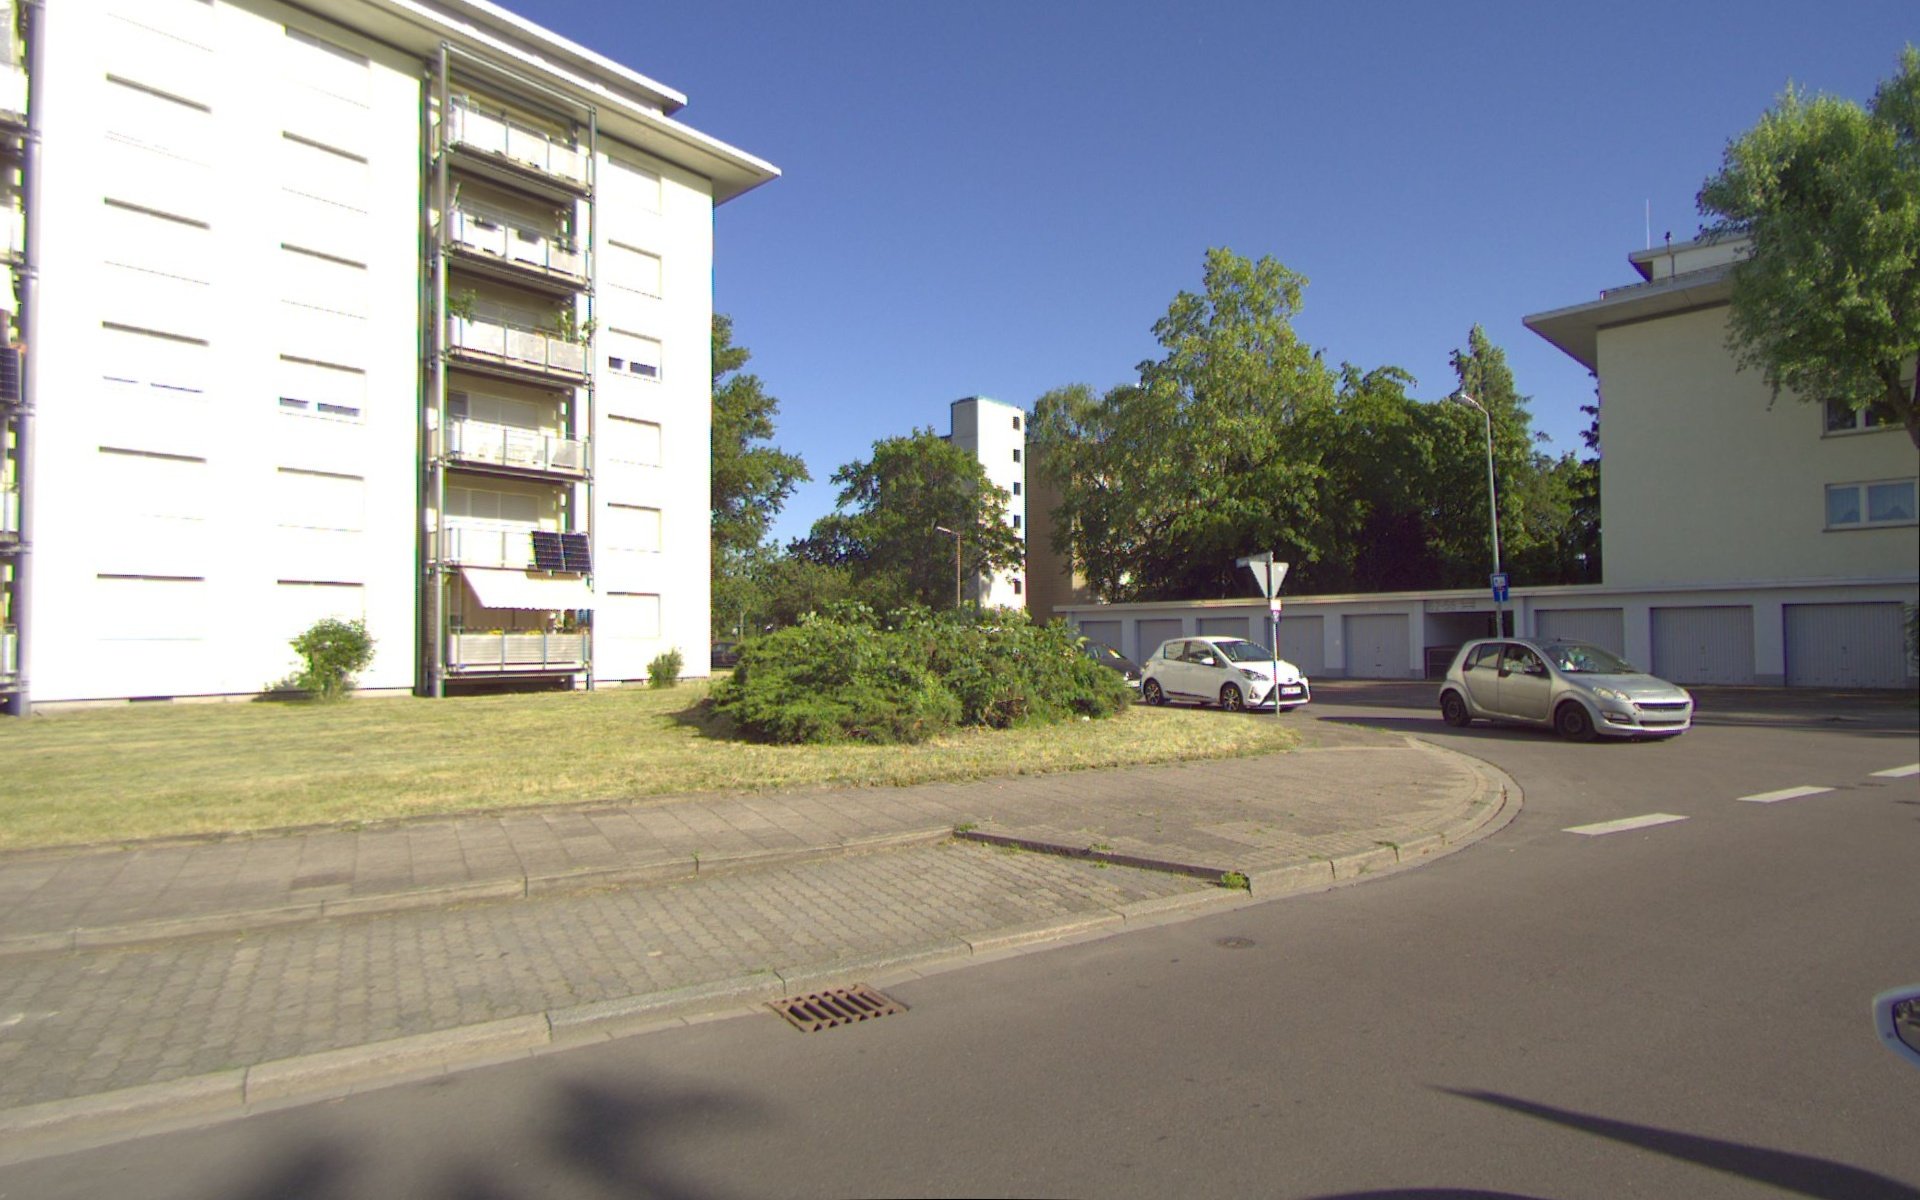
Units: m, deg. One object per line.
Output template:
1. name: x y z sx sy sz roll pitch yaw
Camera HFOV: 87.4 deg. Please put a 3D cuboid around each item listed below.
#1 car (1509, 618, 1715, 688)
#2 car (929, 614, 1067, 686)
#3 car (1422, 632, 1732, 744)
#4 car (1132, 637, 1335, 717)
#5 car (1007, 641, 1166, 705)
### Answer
1. car: 19.759 1.626 30.691 1.979 1.949 4.856 1 -4 -33
2. car: 1.018 1.489 30.519 2.206 1.976 5.093 1 -2 -24
3. car: 9.251 1.253 15.498 1.962 1.480 3.935 0 -2 -10
4. car: 5.572 1.554 20.990 2.015 1.483 3.977 0 -3 -25
5. car: 3.124 1.829 25.802 2.015 1.480 4.431 0 -3 -25
